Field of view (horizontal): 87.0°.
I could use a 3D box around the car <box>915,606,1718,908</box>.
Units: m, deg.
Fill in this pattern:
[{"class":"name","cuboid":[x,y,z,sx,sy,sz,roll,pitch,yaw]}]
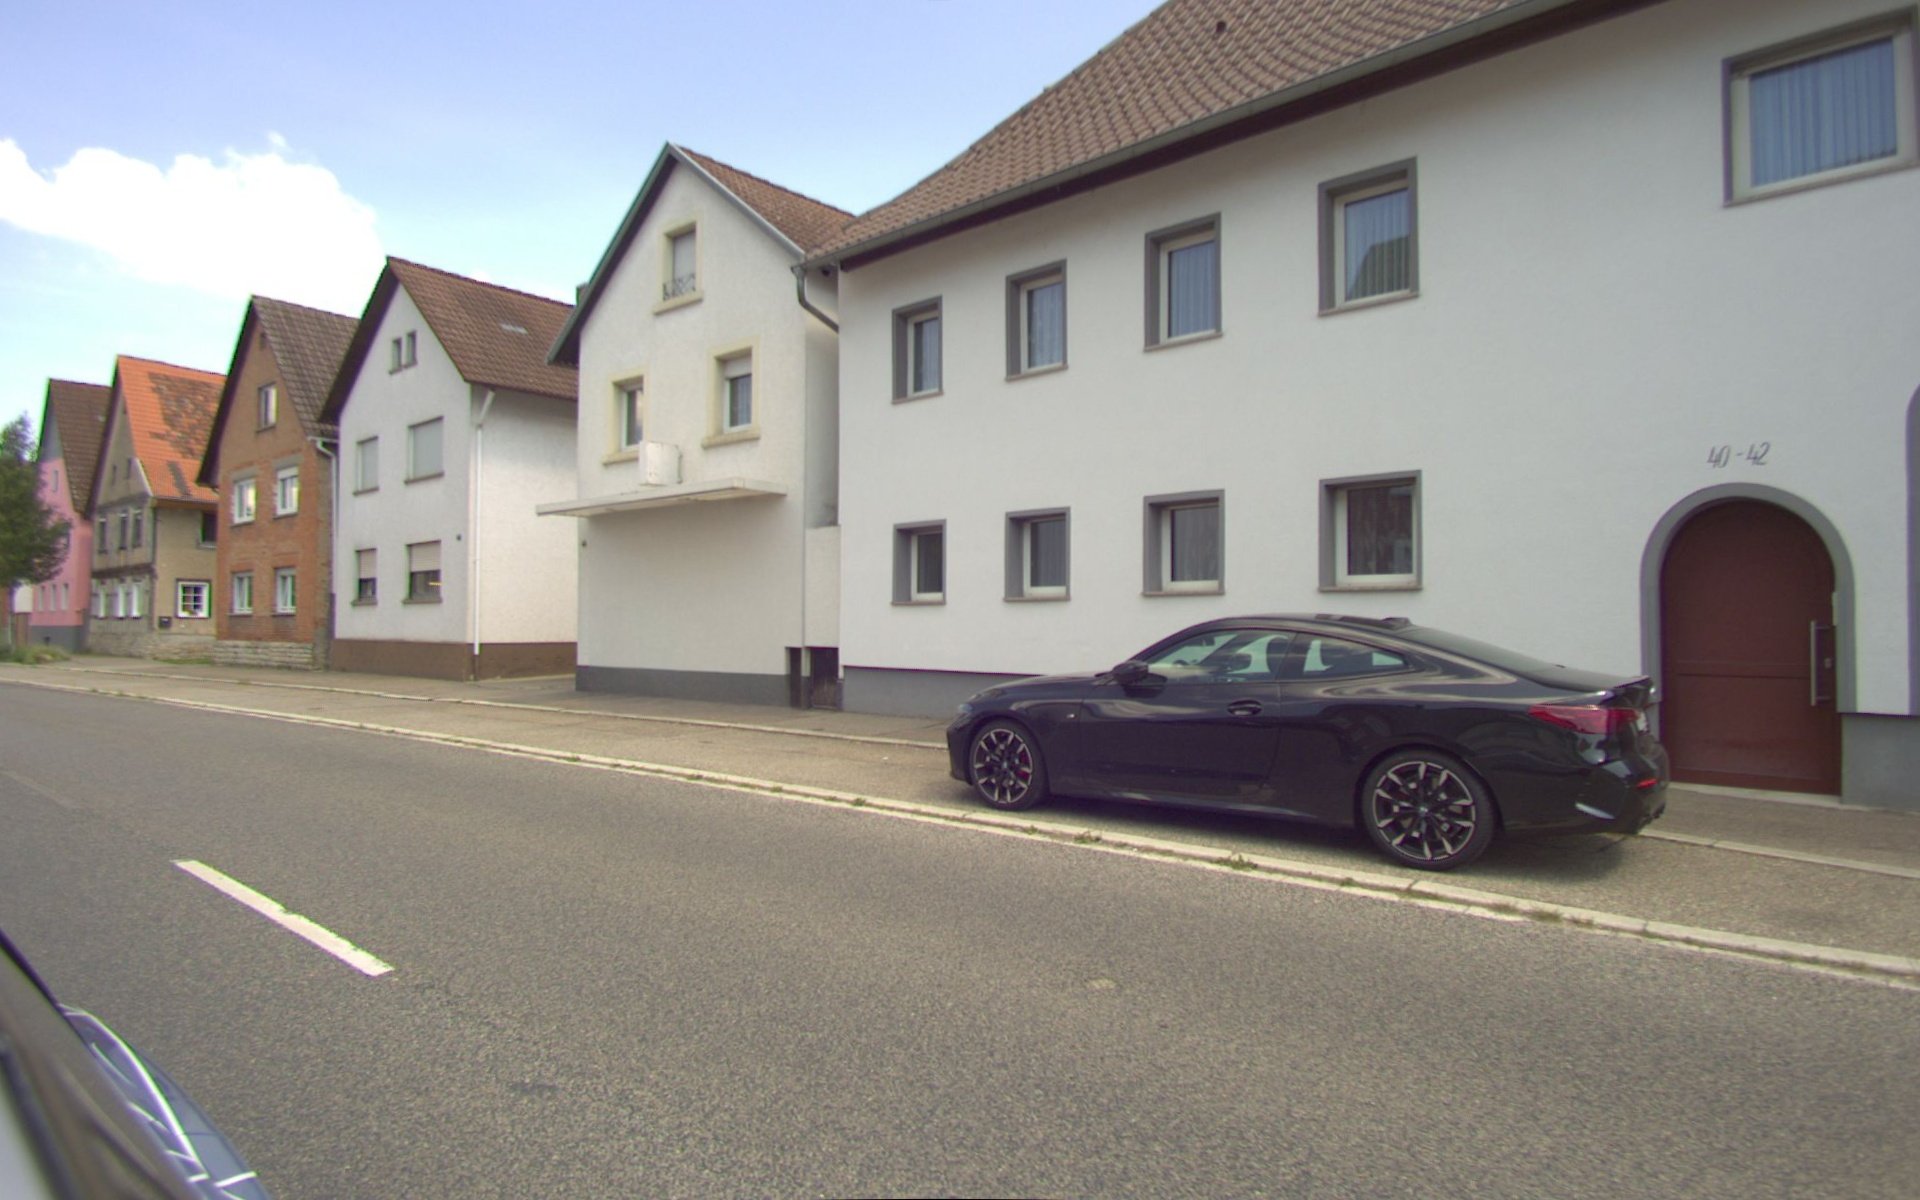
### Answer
[{"class":"car","cuboid":[2.054,0.786,6.768,4.750,1.359,1.748,-2,-2,39]}]
